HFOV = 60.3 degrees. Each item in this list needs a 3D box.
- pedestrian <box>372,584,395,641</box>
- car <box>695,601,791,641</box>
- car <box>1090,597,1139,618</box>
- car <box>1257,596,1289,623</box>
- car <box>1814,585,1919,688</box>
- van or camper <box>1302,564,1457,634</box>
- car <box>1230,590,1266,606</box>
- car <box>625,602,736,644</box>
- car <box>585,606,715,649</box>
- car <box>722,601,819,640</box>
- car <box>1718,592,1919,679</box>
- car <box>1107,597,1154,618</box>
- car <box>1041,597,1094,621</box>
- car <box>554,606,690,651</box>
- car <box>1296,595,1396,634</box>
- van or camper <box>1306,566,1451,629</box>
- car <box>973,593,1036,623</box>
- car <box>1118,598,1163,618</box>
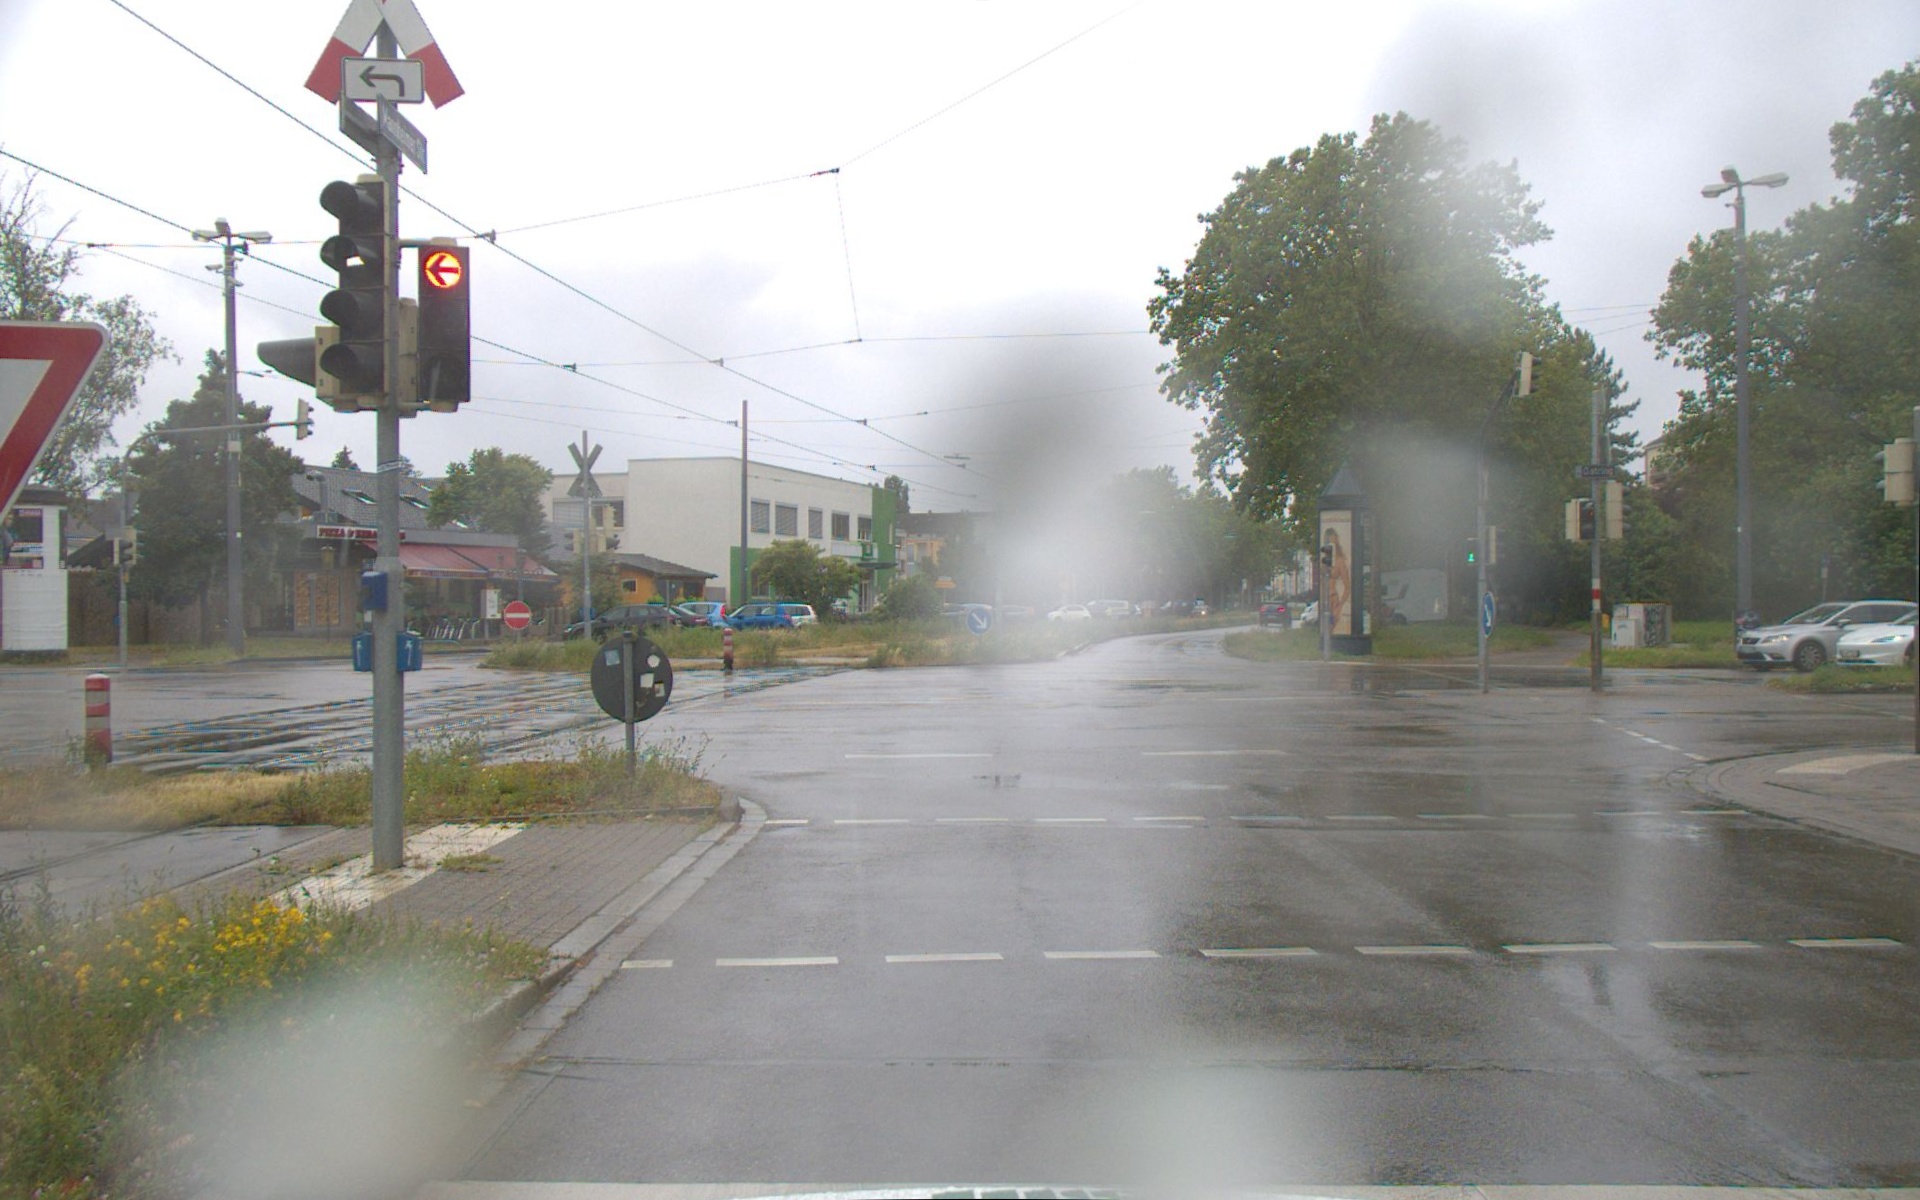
[{"bbox_3d":[-21.083,0.444,60.436,0.713,2.049,0.789,1,-1,-23],"label":"pedestrian"},{"bbox_3d":[-9.145,0.879,69.559,3.916,1.609,1.924,0,0,-12],"label":"car"},{"bbox_3d":[13.527,0.650,145.070,3.916,1.789,2.004,1,0,-12],"label":"car"},{"bbox_3d":[20.680,0.652,109.041,1.768,1.716,3.914,1,0,15],"label":"car"},{"bbox_3d":[18.875,0.705,31.305,4.506,1.860,1.931,1,0,-7],"label":"car"},{"bbox_3d":[20.516,-0.043,80.826,7.168,3.234,3.264,1,0,17],"label":"van or camper"},{"bbox_3d":[35.498,-0.231,203.961,3.909,1.864,1.998,1,0,-5],"label":"car"},{"bbox_3d":[-10.887,0.877,64.566,3.903,1.609,1.859,0,0,4],"label":"car"},{"bbox_3d":[-11.433,1.000,61.208,4.405,1.443,1.858,-2,0,0],"label":"car"},{"bbox_3d":[-8.358,0.878,72.772,4.040,1.670,1.922,0,0,-15],"label":"car"},{"bbox_3d":[18.440,0.732,34.645,4.309,1.721,1.931,1,0,-7],"label":"car"},{"bbox_3d":[15.883,0.691,154.078,3.916,1.864,1.994,1,0,-12],"label":"car"},{"bbox_3d":[8.268,0.687,126.884,3.706,1.732,1.832,1,0,-11],"label":"car"},{"bbox_3d":[-11.978,0.997,58.792,4.385,1.443,1.858,-2,0,0],"label":"car"},{"bbox_3d":[18.182,0.659,77.863,4.352,1.747,2.000,1,0,21],"label":"car"},{"bbox_3d":[22.777,-0.151,89.979,7.274,3.234,3.262,1,0,22],"label":"van or camper"},{"bbox_3d":[2.937,0.503,110.274,3.911,1.920,1.997,1,0,-7],"label":"car"},{"bbox_3d":[17.356,0.737,159.170,3.909,1.864,1.998,1,0,-5],"label":"car"}]
